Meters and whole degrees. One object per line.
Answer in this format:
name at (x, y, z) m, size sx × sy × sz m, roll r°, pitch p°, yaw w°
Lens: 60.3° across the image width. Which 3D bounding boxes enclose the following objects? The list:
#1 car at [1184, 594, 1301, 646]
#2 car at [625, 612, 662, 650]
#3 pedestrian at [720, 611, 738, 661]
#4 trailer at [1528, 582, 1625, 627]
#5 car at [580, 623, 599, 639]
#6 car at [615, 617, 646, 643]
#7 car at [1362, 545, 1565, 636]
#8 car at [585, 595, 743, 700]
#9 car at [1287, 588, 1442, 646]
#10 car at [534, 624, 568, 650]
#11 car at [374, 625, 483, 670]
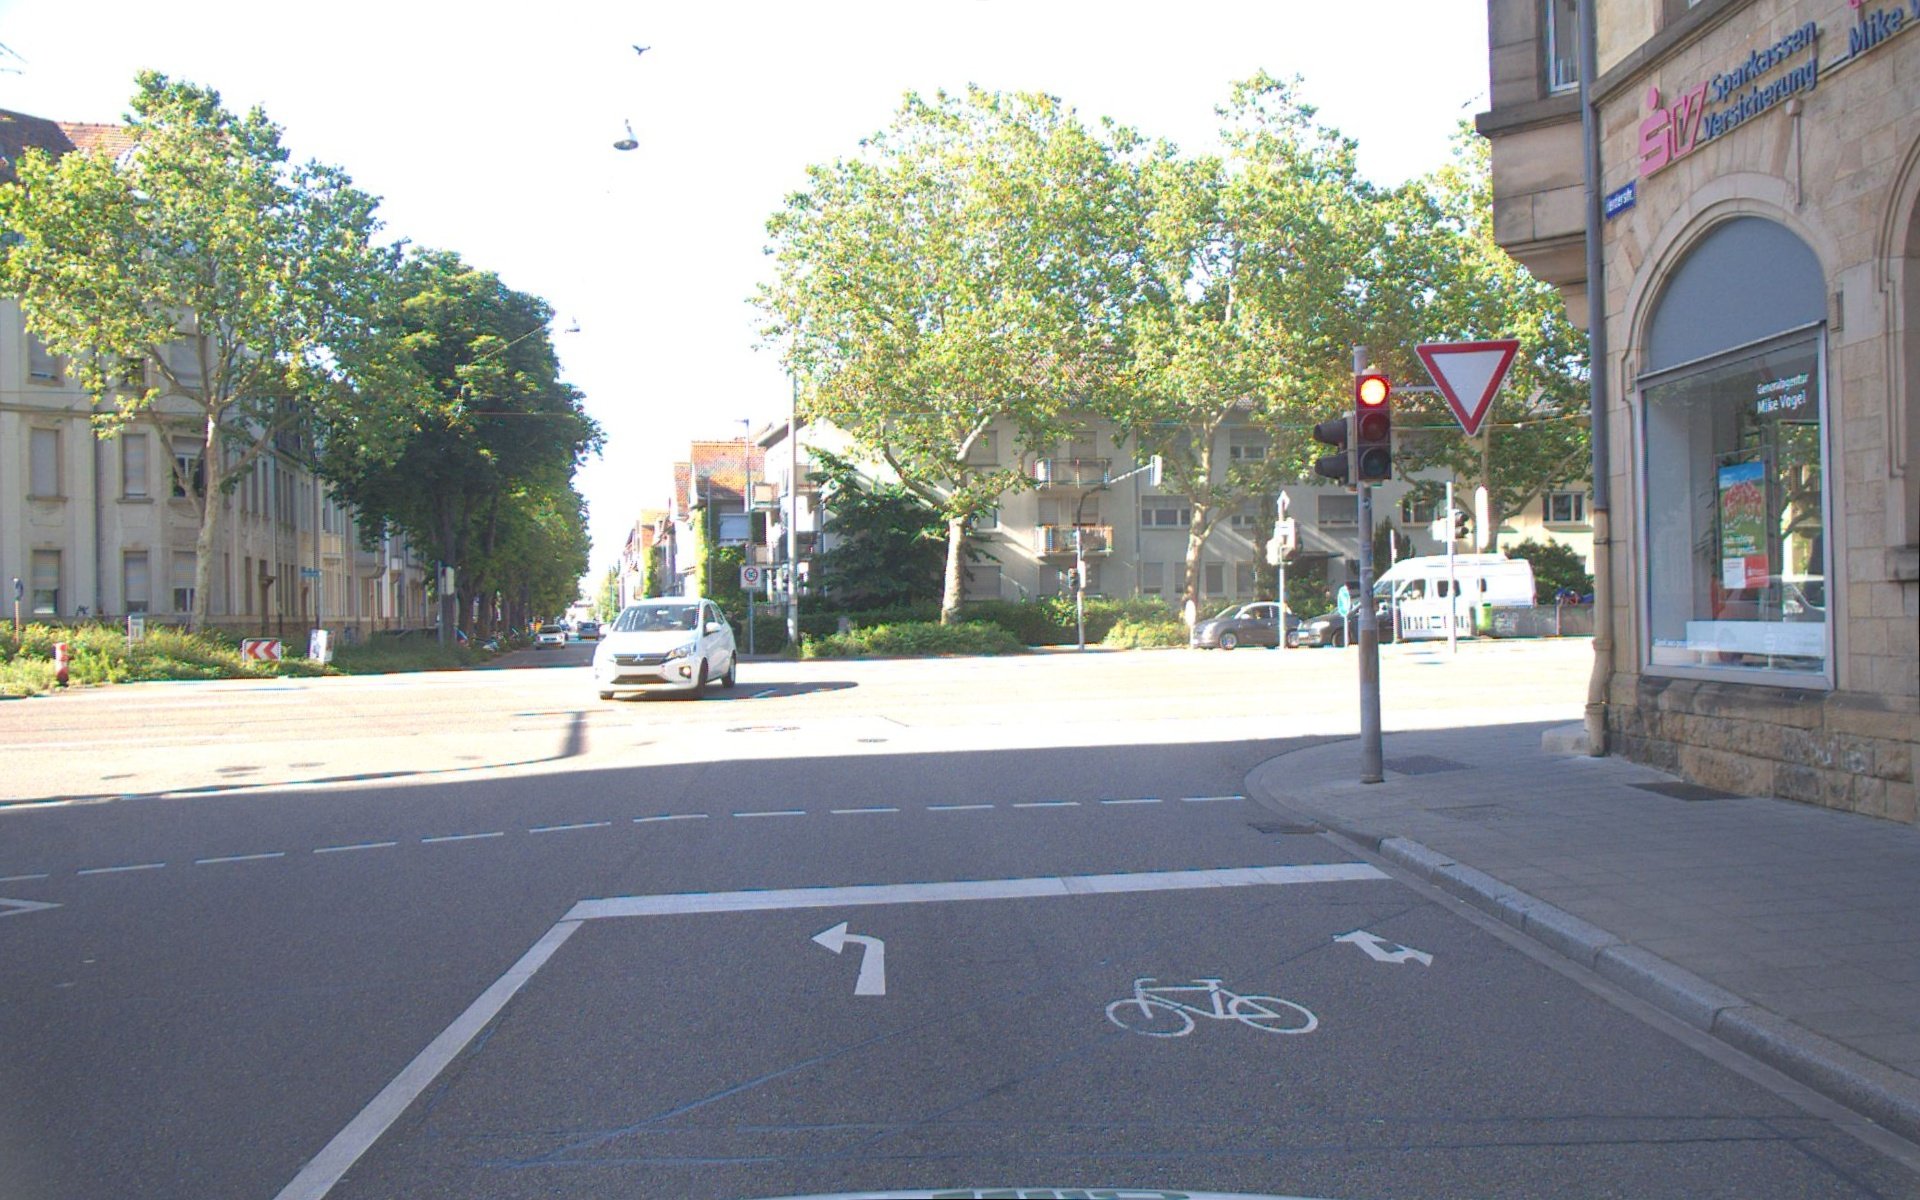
car at (8.889, 0.608, 52.007) m, size 3.333 × 1.513 × 1.514 m, roll -2°, pitch 0°, yaw -23°
car at (-18.087, 1.769, 94.602) m, size 1.957 × 2.049 × 3.990 m, roll -2°, pitch 0°, yaw -10°
pedestrian at (-8.386, 1.309, 60.078) m, size 0.621 × 1.780 × 0.658 m, roll 0°, pitch -1°, yaw -5°
trailer at (19.594, 0.132, 52.563) m, size 2.699 × 1.334 × 1.263 m, roll -2°, pitch 0°, yaw -20°
car at (-34.707, 2.884, 154.927) m, size 1.644 × 1.509 × 3.512 m, roll 0°, pitch -1°, yaw -11°
car at (-24.929, 2.253, 124.987) m, size 1.961 × 1.865 × 3.982 m, roll 0°, pitch -1°, yaw -16°
car at (15.544, -0.314, 51.044) m, size 5.949 × 2.613 × 1.989 m, roll -2°, pitch 0°, yaw -19°
car at (-4.603, 0.694, 26.236) m, size 1.590 × 1.498 × 3.801 m, roll -2°, pitch 0°, yaw 3°
car at (11.341, 0.466, 46.401) m, size 3.926 × 1.476 × 1.650 m, roll -2°, pitch 0°, yaw -19°
car at (-25.400, 2.284, 102.603) m, size 1.960 × 1.471 × 3.984 m, roll -2°, pitch 0°, yaw -15°
car at (-20.440, 1.808, 63.619) m, size 3.928 × 1.512 × 1.672 m, roll -2°, pitch 0°, yaw -20°
